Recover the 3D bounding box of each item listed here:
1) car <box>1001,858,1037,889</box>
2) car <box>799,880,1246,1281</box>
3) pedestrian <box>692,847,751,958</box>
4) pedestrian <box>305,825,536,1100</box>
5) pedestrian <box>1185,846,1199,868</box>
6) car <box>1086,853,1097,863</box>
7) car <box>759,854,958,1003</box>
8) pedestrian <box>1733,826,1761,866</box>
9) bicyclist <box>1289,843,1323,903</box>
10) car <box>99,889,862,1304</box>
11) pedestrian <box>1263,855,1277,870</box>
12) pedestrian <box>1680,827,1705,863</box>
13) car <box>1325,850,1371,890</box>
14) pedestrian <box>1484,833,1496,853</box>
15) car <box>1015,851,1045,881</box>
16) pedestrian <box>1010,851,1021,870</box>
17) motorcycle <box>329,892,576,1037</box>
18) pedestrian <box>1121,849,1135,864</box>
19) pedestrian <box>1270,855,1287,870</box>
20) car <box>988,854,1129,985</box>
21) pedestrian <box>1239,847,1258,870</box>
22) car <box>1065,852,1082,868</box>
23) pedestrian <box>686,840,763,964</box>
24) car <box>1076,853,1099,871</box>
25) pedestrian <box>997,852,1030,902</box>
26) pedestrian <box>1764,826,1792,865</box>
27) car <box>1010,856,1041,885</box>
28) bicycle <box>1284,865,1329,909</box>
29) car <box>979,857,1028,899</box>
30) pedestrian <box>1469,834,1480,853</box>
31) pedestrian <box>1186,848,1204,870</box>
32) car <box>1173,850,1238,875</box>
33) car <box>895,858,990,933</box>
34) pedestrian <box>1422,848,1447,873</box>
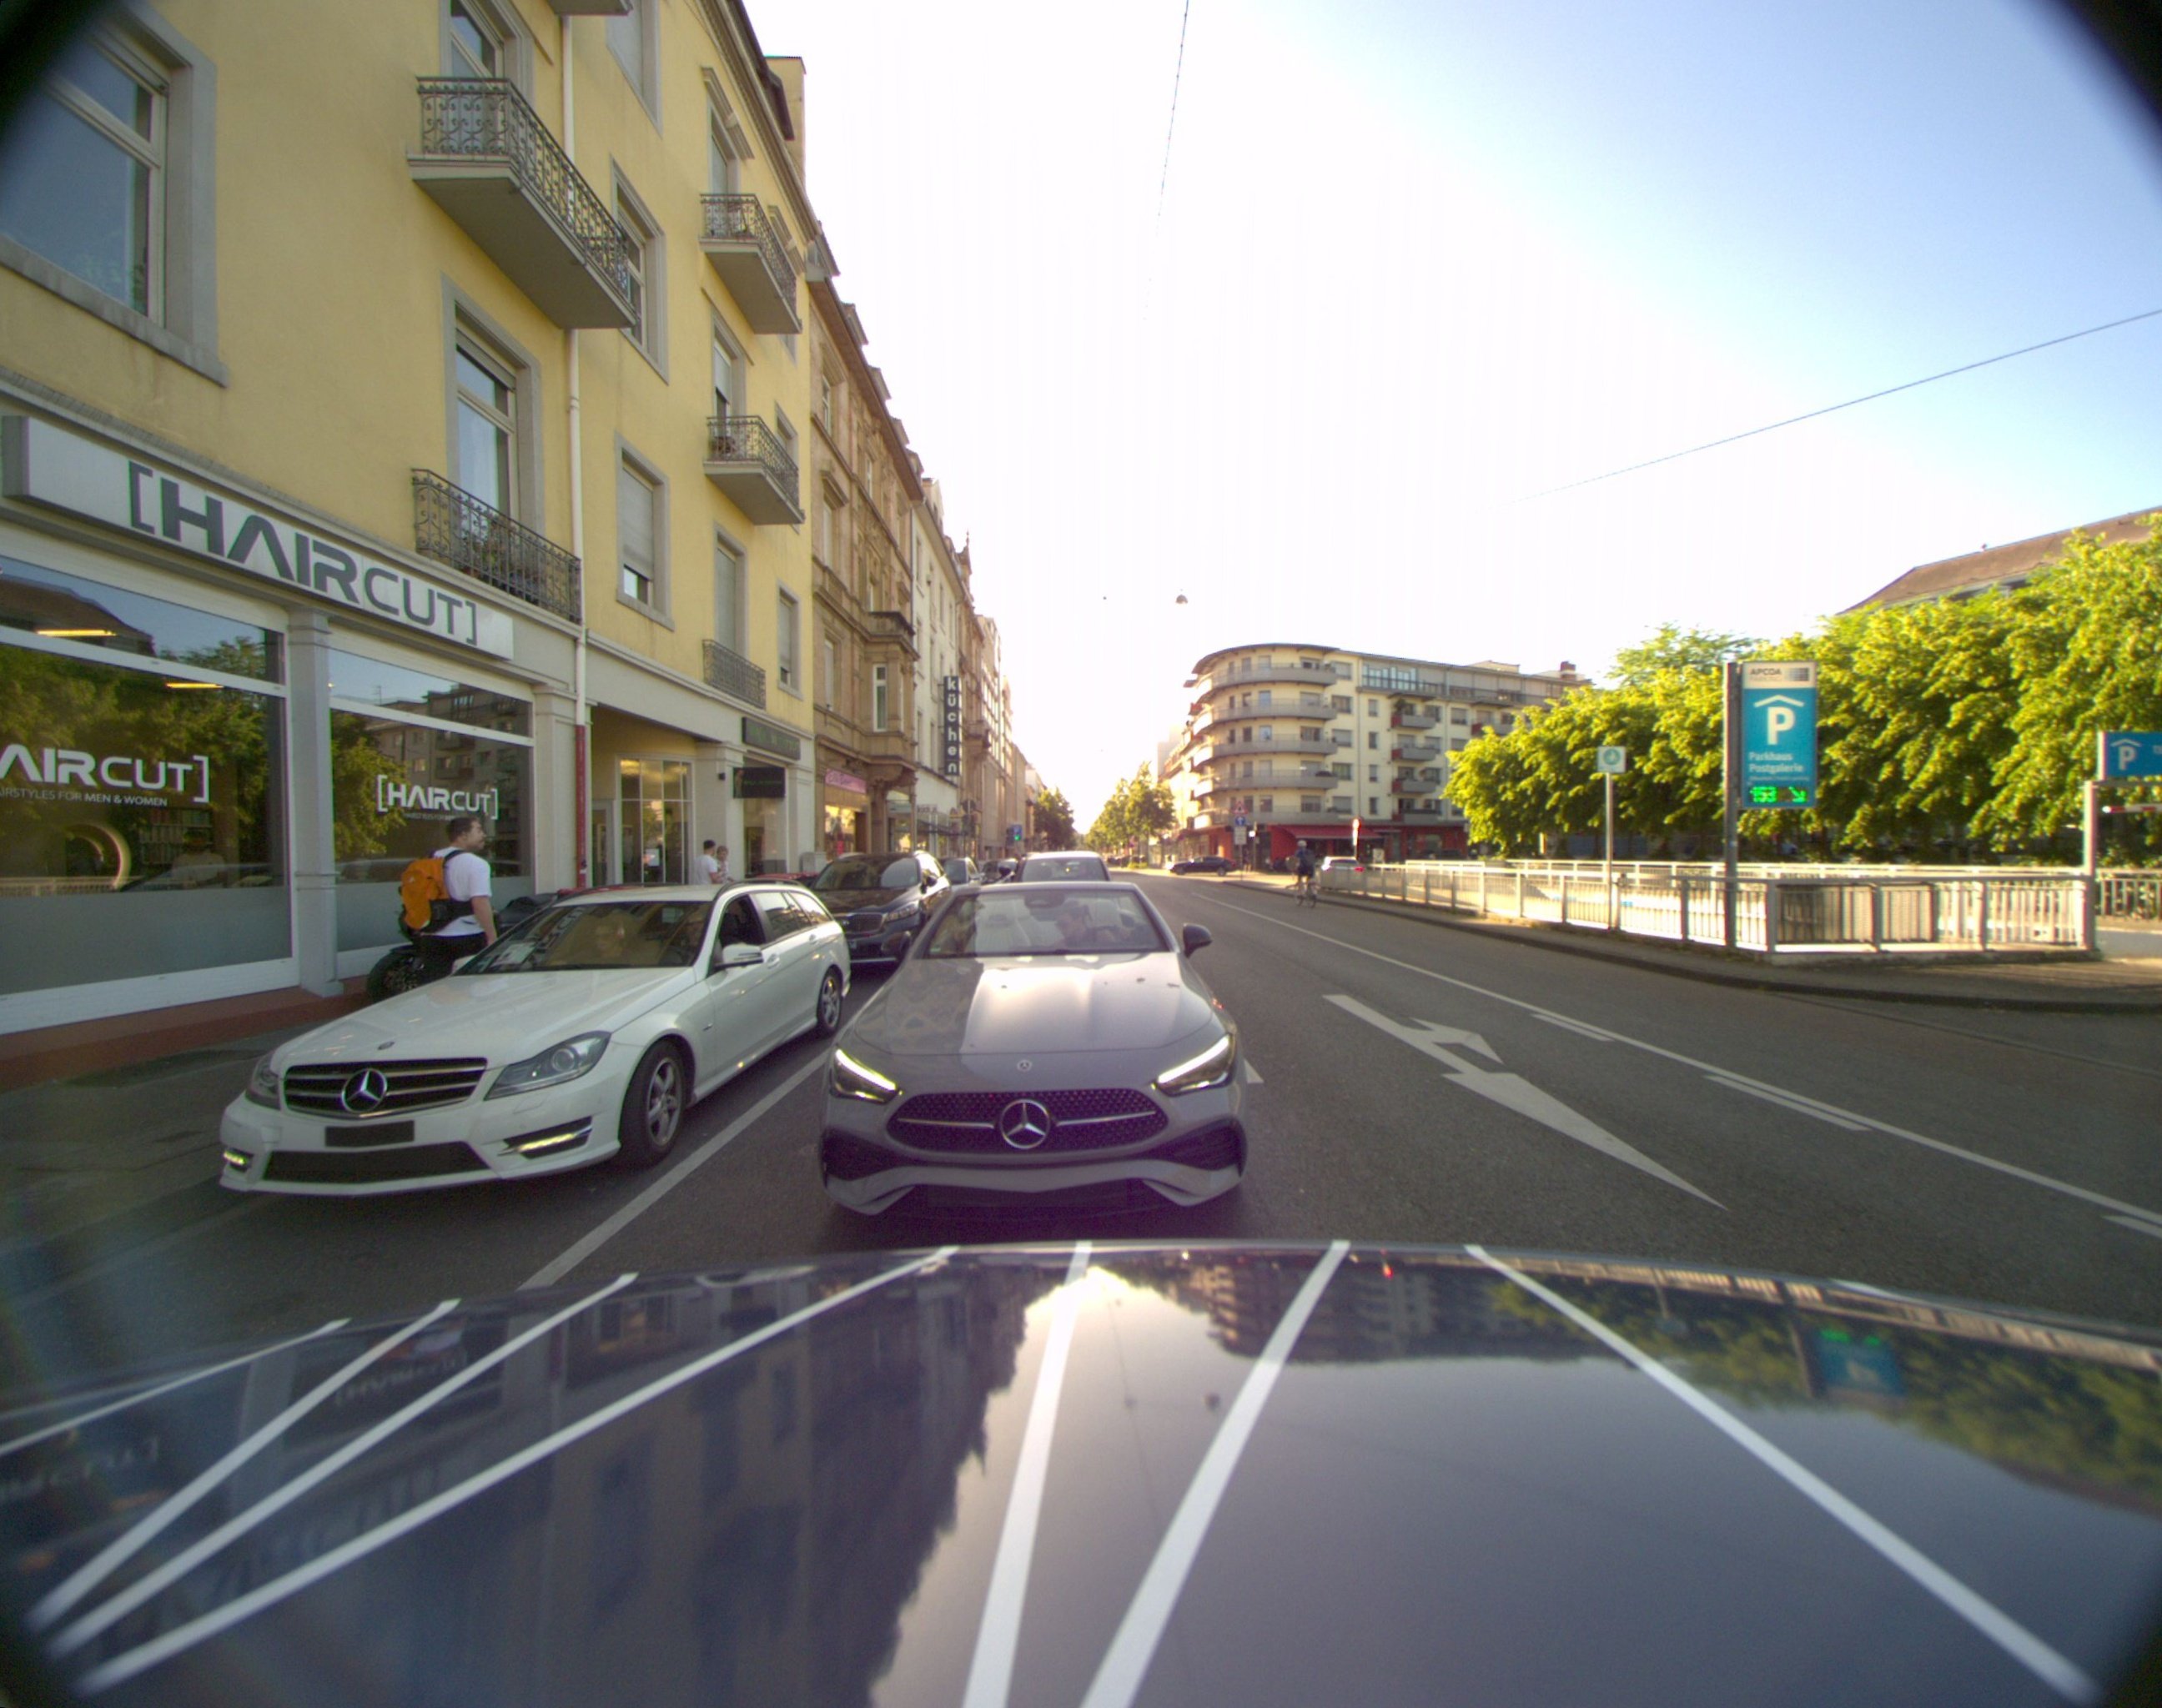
[{"bbox_3d":[-2.962,0.904,36.663,1.461,1.310,3.363,-2,1,-1],"label":"car"},{"bbox_3d":[-0.287,1.001,5.341,1.769,1.360,4.471,-2,1,-2],"label":"car"},{"bbox_3d":[-6.155,0.798,13.042,0.630,1.826,0.770,-2,1,-7],"label":"pedestrian"},{"bbox_3d":[-4.759,0.716,5.556,0.810,1.812,0.982,1,1,4],"label":"pedestrian"},{"bbox_3d":[9.835,0.240,67.243,0.990,1.908,0.790,-2,1,-3],"label":"pedestrian"},{"bbox_3d":[1.983,0.766,147.812,1.836,1.831,3.886,1,1,-2],"label":"car"},{"bbox_3d":[-3.019,0.893,11.321,1.806,1.680,4.408,-2,1,-3],"label":"car"},{"bbox_3d":[32.167,-0.389,36.706,0.748,1.852,0.683,-2,1,-13],"label":"pedestrian"},{"bbox_3d":[6.444,0.527,21.796,0.703,1.700,0.809,1,1,-3],"label":"bicyclist"},{"bbox_3d":[-3.032,1.076,5.229,1.672,1.364,4.377,-2,1,1],"label":"car"},{"bbox_3d":[14.914,0.668,60.022,0.780,1.191,0.884,-2,1,-10],"label":"pedestrian"},{"bbox_3d":[31.659,-0.453,39.346,0.748,1.832,0.683,-3,1,-21],"label":"pedestrian"},{"bbox_3d":[11.570,0.653,33.077,1.635,1.521,3.912,-2,1,16],"label":"car"},{"bbox_3d":[38.355,-1.001,71.238,0.747,1.832,0.684,-2,1,1],"label":"pedestrian"},{"bbox_3d":[-3.161,0.721,47.530,1.695,1.670,3.880,-2,1,-3],"label":"car"},{"bbox_3d":[-5.982,0.577,69.226,0.826,1.750,0.823,-2,1,-1],"label":"pedestrian"},{"bbox_3d":[-6.261,1.027,7.771,0.735,1.124,2.109,2,1,1],"label":"motorcycle"},{"bbox_3d":[5.938,0.276,95.197,1.224,1.826,1.200,-3,1,-31],"label":"pedestrian"},{"bbox_3d":[15.420,0.655,59.364,0.937,1.191,0.832,-3,1,-24],"label":"pedestrian"},{"bbox_3d":[-0.371,0.897,12.740,1.866,1.658,4.706,-2,1,-2],"label":"car"},{"bbox_3d":[13.107,0.357,59.420,1.063,1.739,0.960,-3,1,-32],"label":"pedestrian"},{"bbox_3d":[-0.838,0.636,80.630,1.695,1.635,3.599,-2,1,-1],"label":"car"},{"bbox_3d":[-5.656,0.733,12.059,0.975,1.866,0.534,-3,1,-31],"label":"pedestrian"},{"bbox_3d":[0.545,0.656,64.264,1.695,1.437,3.575,-2,1,-3],"label":"car"},{"bbox_3d":[-2.364,0.795,26.815,0.836,1.709,0.821,-2,1,19],"label":"pedestrian"},{"bbox_3d":[33.471,-0.428,36.500,0.748,1.832,0.683,-2,1,-13],"label":"pedestrian"},{"bbox_3d":[-2.950,0.870,40.932,1.461,1.391,3.363,-2,1,-1],"label":"car"},{"bbox_3d":[6.439,0.925,21.808,0.618,1.156,1.957,1,1,-2],"label":"bicycle"},{"bbox_3d":[-3.033,0.907,30.295,1.695,1.482,3.796,-2,1,-3],"label":"car"},{"bbox_3d":[38.502,-1.041,74.302,0.745,1.832,0.685,-1,2,39],"label":"pedestrian"},{"bbox_3d":[9.416,0.403,62.797,1.070,1.709,1.079,-2,1,-11],"label":"pedestrian"},{"bbox_3d":[8.629,0.576,52.442,4.242,1.521,1.678,-2,1,14],"label":"car"},{"bbox_3d":[-3.188,0.909,17.972,1.583,1.514,2.998,-2,1,1],"label":"car"},{"bbox_3d":[24.530,0.463,52.803,1.271,1.656,1.140,-2,1,9],"label":"pedestrian"}]
